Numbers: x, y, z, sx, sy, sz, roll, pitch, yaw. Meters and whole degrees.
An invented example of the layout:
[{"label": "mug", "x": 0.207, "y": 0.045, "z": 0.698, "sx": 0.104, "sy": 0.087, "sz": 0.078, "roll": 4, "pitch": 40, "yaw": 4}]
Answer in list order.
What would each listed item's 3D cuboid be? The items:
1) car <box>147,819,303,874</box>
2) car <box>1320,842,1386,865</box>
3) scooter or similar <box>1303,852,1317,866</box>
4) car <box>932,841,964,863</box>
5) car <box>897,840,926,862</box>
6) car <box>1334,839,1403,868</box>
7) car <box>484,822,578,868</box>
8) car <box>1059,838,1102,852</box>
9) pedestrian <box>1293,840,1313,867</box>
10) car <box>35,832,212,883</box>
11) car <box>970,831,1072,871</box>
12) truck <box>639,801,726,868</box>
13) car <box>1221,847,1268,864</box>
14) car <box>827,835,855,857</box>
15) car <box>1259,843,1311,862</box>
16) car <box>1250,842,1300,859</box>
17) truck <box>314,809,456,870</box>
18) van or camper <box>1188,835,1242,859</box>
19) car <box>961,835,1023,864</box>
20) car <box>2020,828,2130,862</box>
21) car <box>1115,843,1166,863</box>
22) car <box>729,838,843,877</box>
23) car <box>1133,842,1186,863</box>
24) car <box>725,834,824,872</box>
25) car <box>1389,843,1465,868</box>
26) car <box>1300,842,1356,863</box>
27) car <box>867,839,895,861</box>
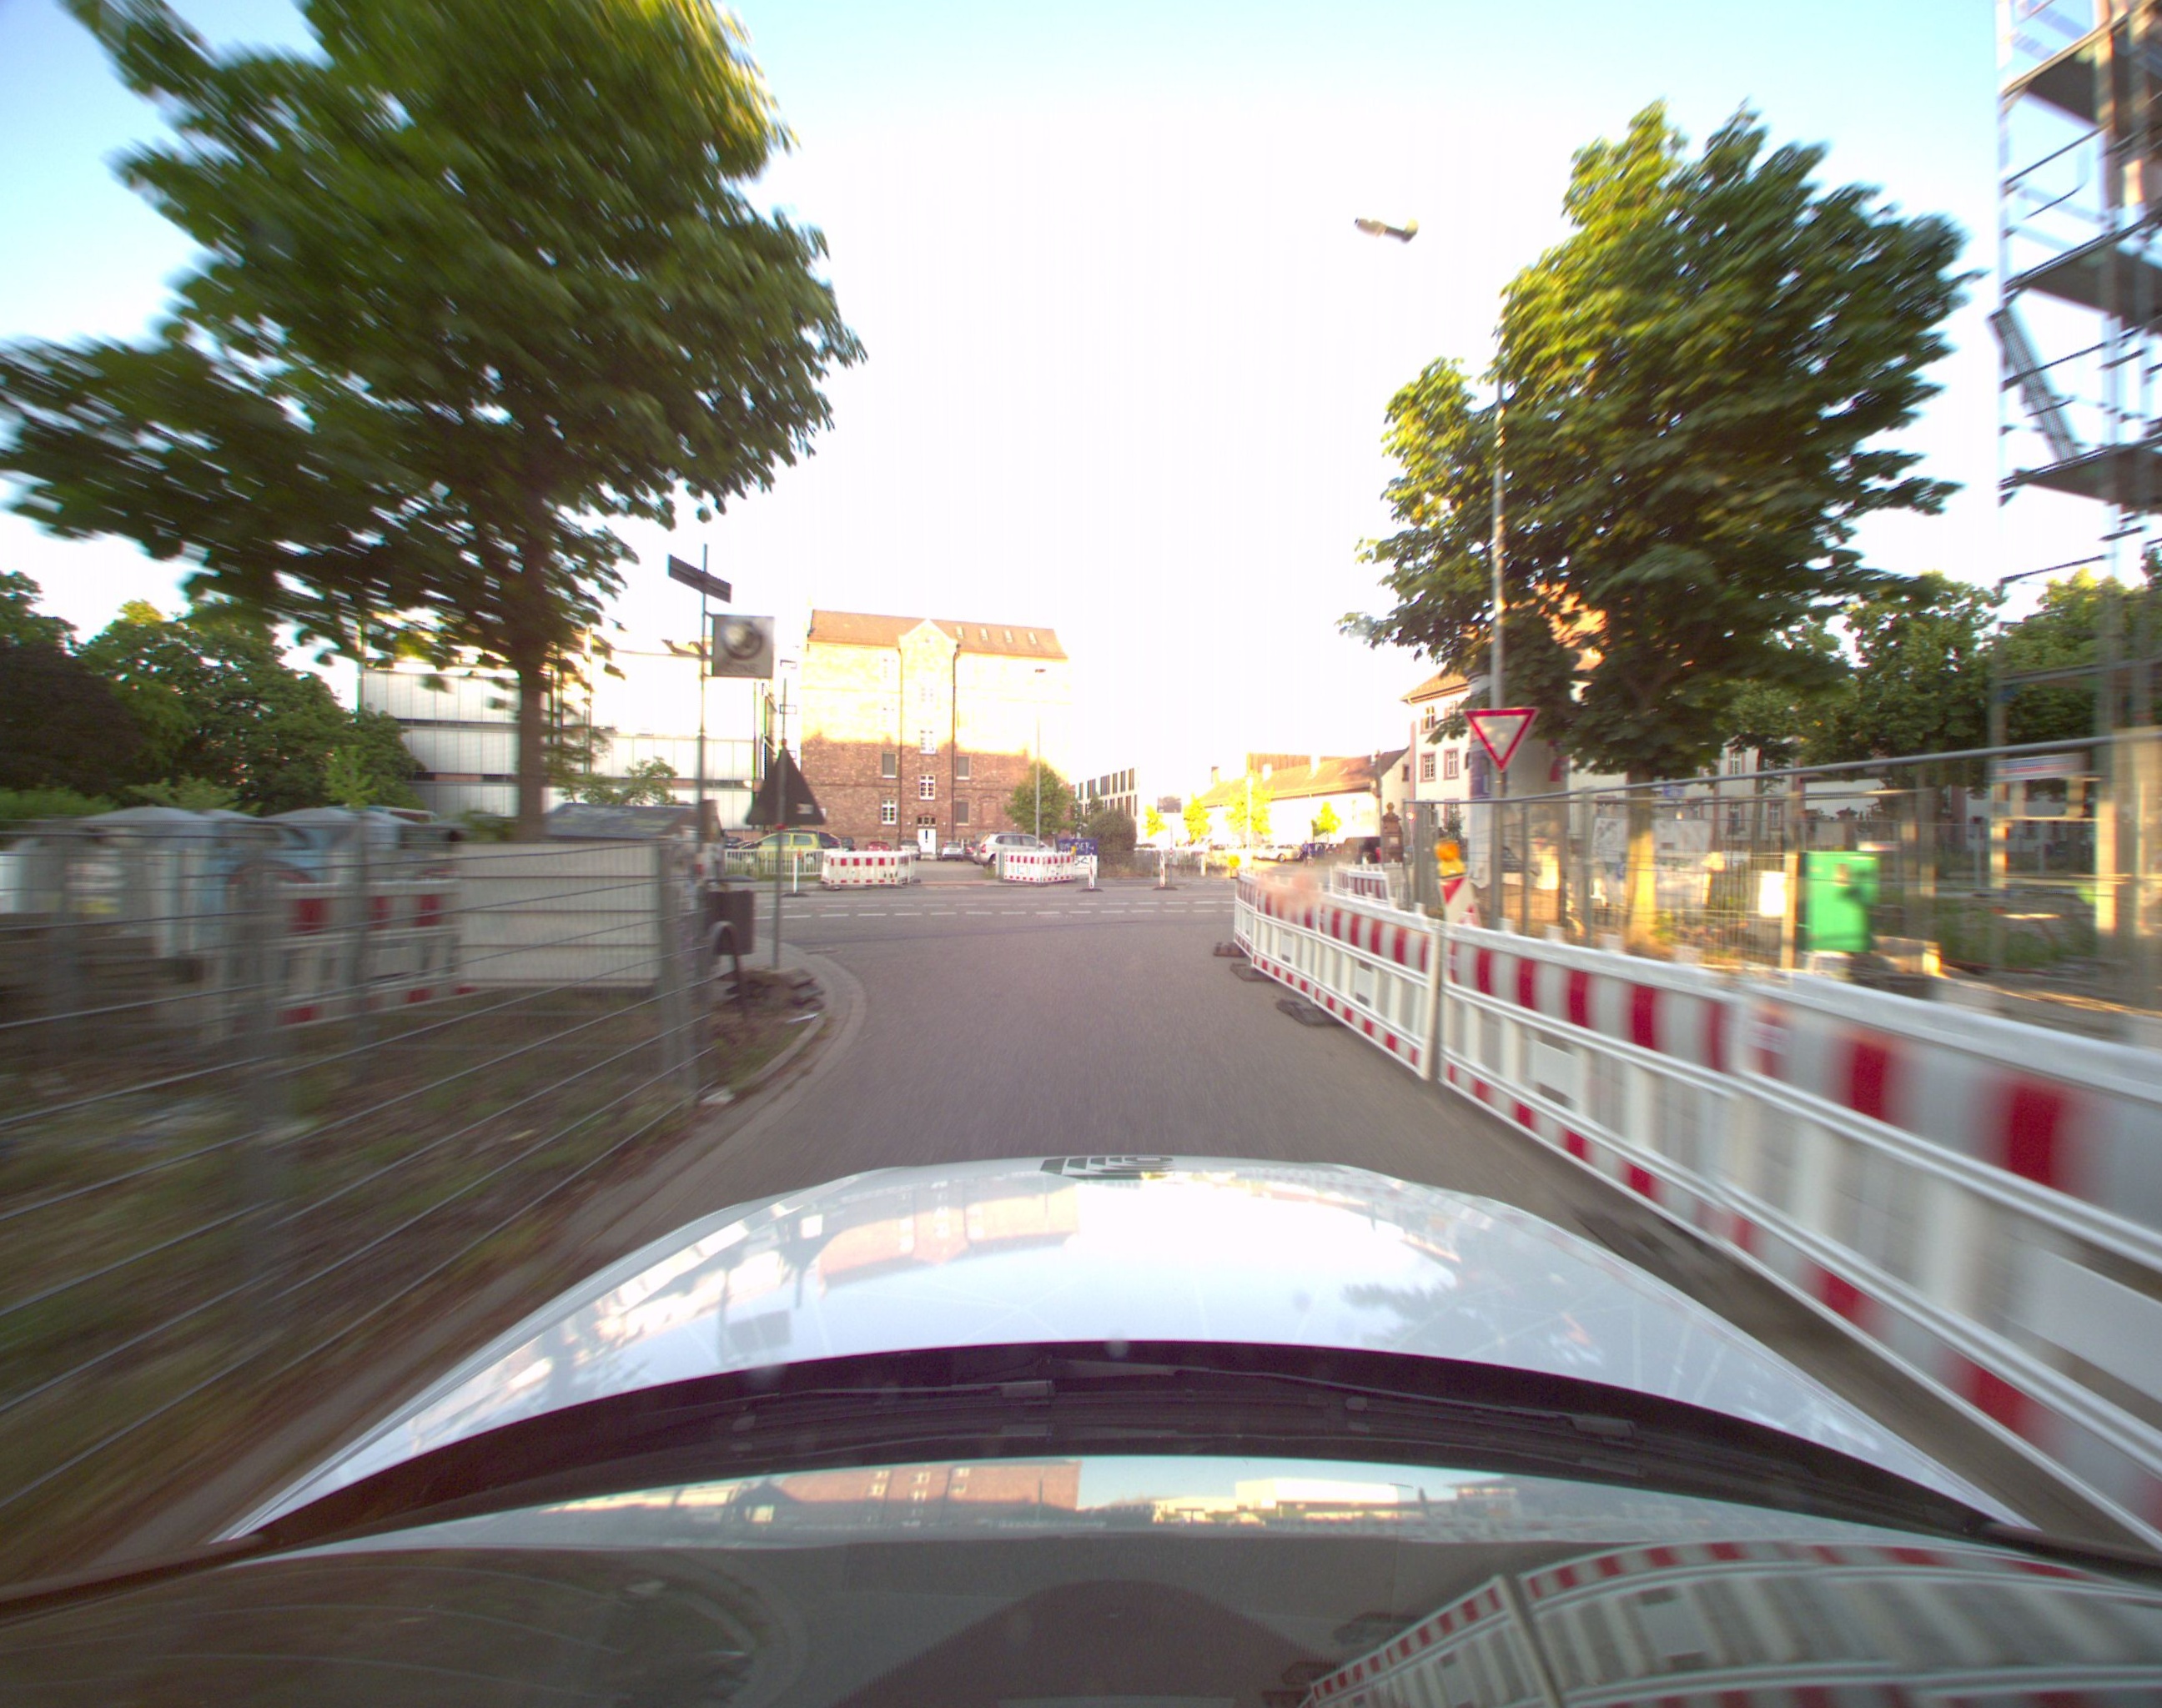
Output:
[{"label": "car", "x": -30.586, "y": -0.297, "z": 29.306, "sx": 1.998, "sy": 1.826, "sz": 4.203, "roll": 0, "pitch": 1, "yaw": -16}, {"label": "car", "x": 18.779, "y": -0.054, "z": 56.208, "sx": 3.999, "sy": 1.573, "sz": 1.987, "roll": 0, "pitch": 0, "yaw": -20}, {"label": "scooter or similar", "x": 13.998, "y": 0.298, "z": 49.743, "sx": 0.514, "sy": 0.890, "sz": 0.802, "roll": 0, "pitch": 0, "yaw": -15}, {"label": "car", "x": -9.941, "y": -0.153, "z": 60.719, "sx": 1.900, "sy": 1.537, "sz": 4.158, "roll": 0, "pitch": 1, "yaw": -15}, {"label": "car", "x": -12.521, "y": -0.256, "z": 59.968, "sx": 1.900, "sy": 1.537, "sz": 4.158, "roll": 0, "pitch": 1, "yaw": -15}, {"label": "car", "x": 18.968, "y": -0.069, "z": 53.739, "sx": 3.999, "sy": 1.858, "sz": 1.987, "roll": 0, "pitch": 0, "yaw": -20}, {"label": "car", "x": -22.090, "y": -0.393, "z": 32.908, "sx": 1.999, "sy": 1.727, "sz": 4.275, "roll": 0, "pitch": 1, "yaw": -18}, {"label": "car", "x": -0.086, "y": -0.899, "z": 82.215, "sx": 3.996, "sy": 1.313, "sz": 1.867, "roll": 0, "pitch": 0, "yaw": -17}, {"label": "pedestrian", "x": 13.814, "y": -0.040, "z": 50.683, "sx": 0.751, "sy": 1.642, "sz": 1.009, "roll": 0, "pitch": 0, "yaw": -15}, {"label": "car", "x": -33.240, "y": 0.071, "z": 28.491, "sx": 1.998, "sy": 1.647, "sz": 4.203, "roll": 0, "pitch": 1, "yaw": -16}, {"label": "car", "x": -2.667, "y": -0.147, "z": 36.194, "sx": 4.279, "sy": 1.708, "sz": 1.693, "roll": 0, "pitch": 1, "yaw": -17}, {"label": "truck", "x": -16.642, "y": -0.804, "z": 34.285, "sx": 2.338, "sy": 2.616, "sz": 4.948, "roll": 0, "pitch": 1, "yaw": -15}, {"label": "car", "x": 14.340, "y": 0.091, "z": 71.441, "sx": 3.752, "sy": 1.445, "sz": 1.676, "roll": 0, "pitch": 0, "yaw": -20}, {"label": "car", "x": -17.316, "y": -0.599, "z": 58.880, "sx": 1.900, "sy": 1.537, "sz": 4.158, "roll": 0, "pitch": 1, "yaw": -15}, {"label": "car", "x": 16.312, "y": -0.138, "z": 65.043, "sx": 3.752, "sy": 1.445, "sz": 1.676, "roll": 0, "pitch": 0, "yaw": -20}, {"label": "car", "x": 16.090, "y": -0.298, "z": 67.692, "sx": 3.752, "sy": 1.445, "sz": 1.676, "roll": 0, "pitch": 0, "yaw": -20}, {"label": "truck", "x": -25.756, "y": -0.543, "z": 30.381, "sx": 2.107, "sy": 2.090, "sz": 4.494, "roll": 0, "pitch": 1, "yaw": -12}, {"label": "van or camper", "x": 12.965, "y": -0.683, "z": 78.537, "sx": 4.978, "sy": 2.240, "sz": 1.676, "roll": 0, "pitch": 0, "yaw": -20}, {"label": "car", "x": -5.359, "y": -0.271, "z": 49.176, "sx": 3.484, "sy": 1.708, "sz": 1.659, "roll": 0, "pitch": 1, "yaw": -17}, {"label": "car", "x": 62.668, "y": -0.582, "z": 51.413, "sx": 2.000, "sy": 2.013, "sz": 3.973, "roll": 0, "pitch": 1, "yaw": -20}, {"label": "car", "x": 4.811, "y": -0.104, "z": 66.123, "sx": 3.752, "sy": 1.603, "sz": 1.676, "roll": 0, "pitch": 0, "yaw": -20}, {"label": "car", "x": -12.935, "y": 0.130, "z": 36.009, "sx": 4.590, "sy": 1.638, "sz": 1.568, "roll": 0, "pitch": 1, "yaw": -15}, {"label": "car", "x": 6.104, "y": -0.148, "z": 63.215, "sx": 3.752, "sy": 1.603, "sz": 1.676, "roll": 0, "pitch": 0, "yaw": -20}, {"label": "car", "x": -12.573, "y": -0.074, "z": 33.649, "sx": 3.637, "sy": 1.503, "sz": 1.629, "roll": 0, "pitch": 1, "yaw": -15}, {"label": "car", "x": 20.878, "y": 0.079, "z": 49.160, "sx": 3.999, "sy": 1.459, "sz": 1.987, "roll": 0, "pitch": 0, "yaw": -20}, {"label": "car", "x": 18.385, "y": -0.089, "z": 60.727, "sx": 3.752, "sy": 1.529, "sz": 1.676, "roll": 0, "pitch": 0, "yaw": -20}, {"label": "car", "x": -14.644, "y": -0.349, "z": 59.403, "sx": 1.900, "sy": 1.537, "sz": 4.158, "roll": 0, "pitch": 1, "yaw": -15}]
